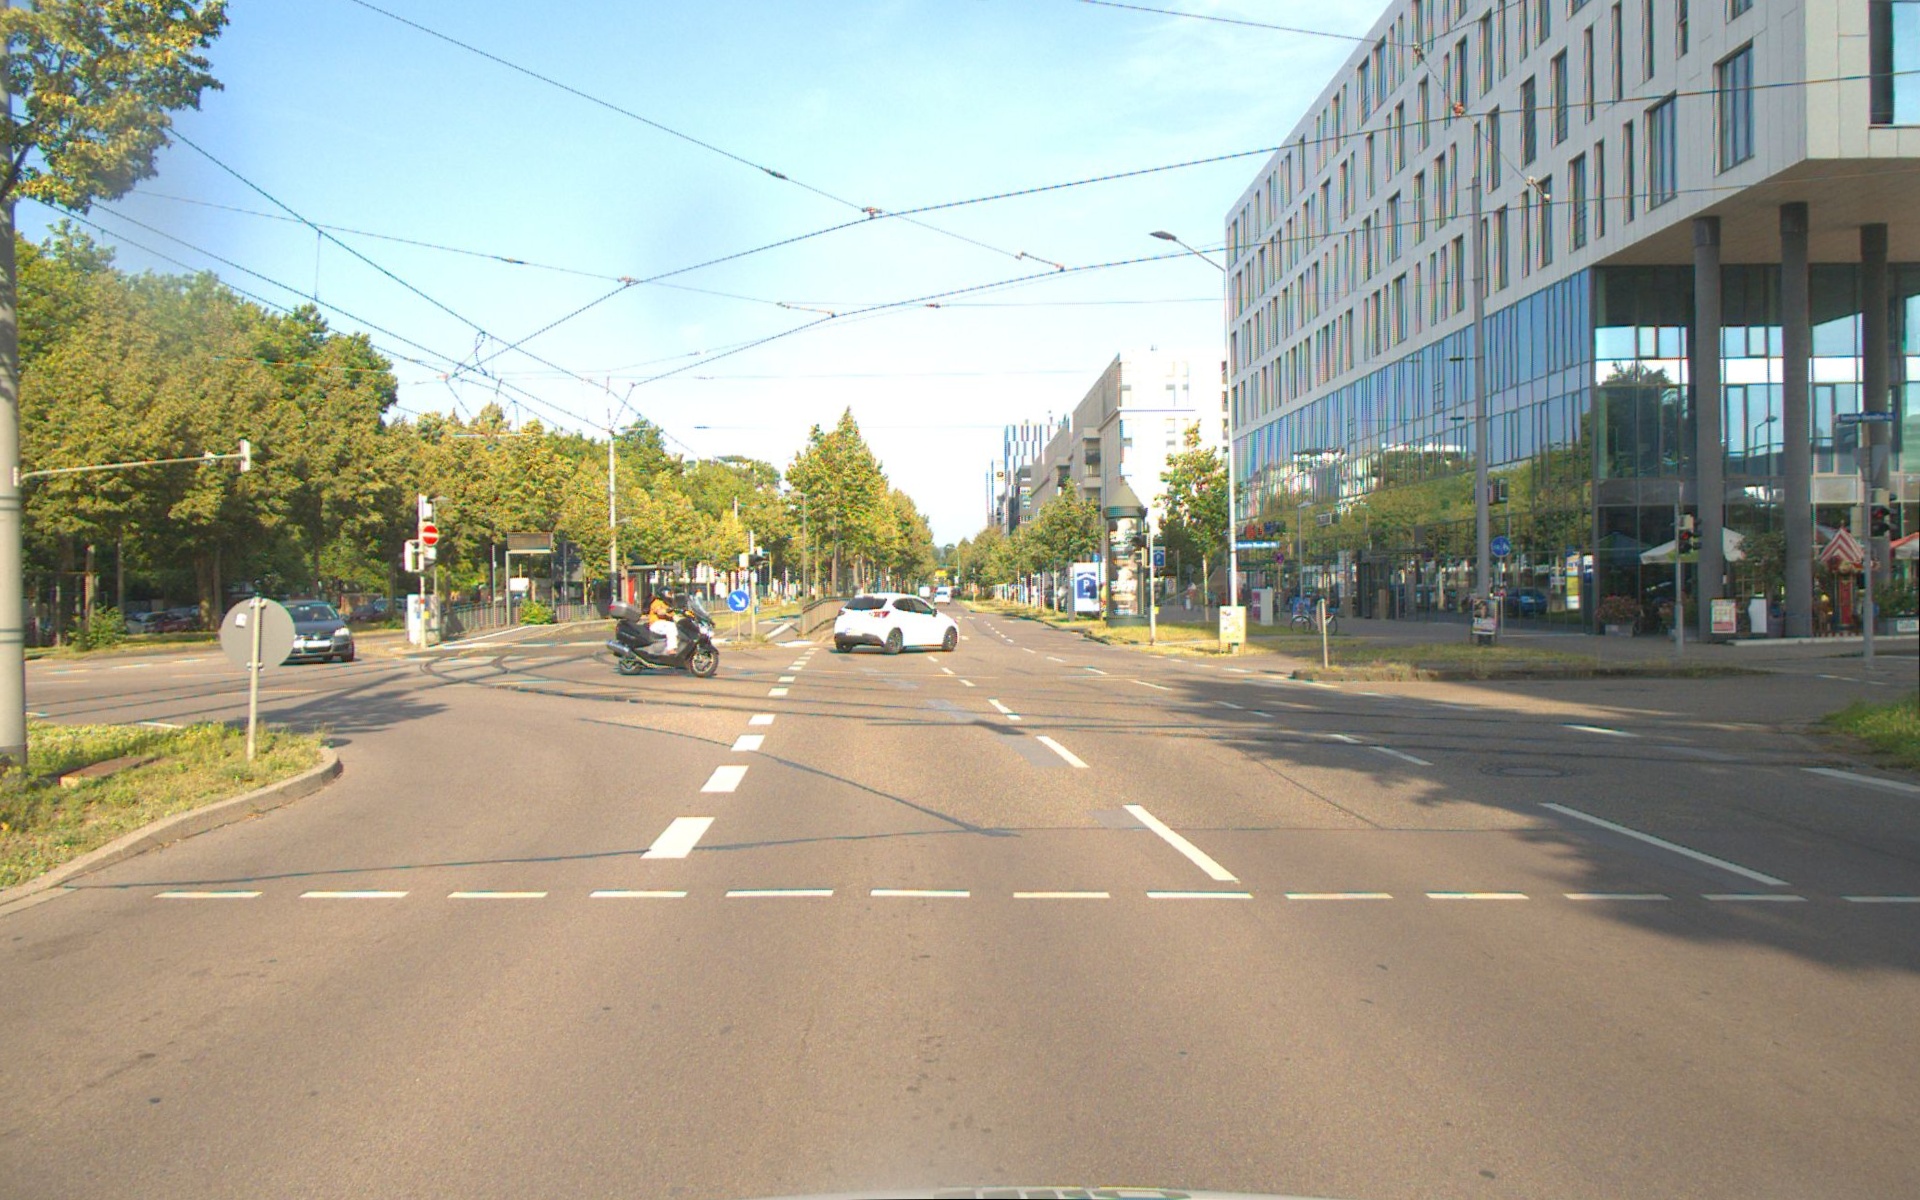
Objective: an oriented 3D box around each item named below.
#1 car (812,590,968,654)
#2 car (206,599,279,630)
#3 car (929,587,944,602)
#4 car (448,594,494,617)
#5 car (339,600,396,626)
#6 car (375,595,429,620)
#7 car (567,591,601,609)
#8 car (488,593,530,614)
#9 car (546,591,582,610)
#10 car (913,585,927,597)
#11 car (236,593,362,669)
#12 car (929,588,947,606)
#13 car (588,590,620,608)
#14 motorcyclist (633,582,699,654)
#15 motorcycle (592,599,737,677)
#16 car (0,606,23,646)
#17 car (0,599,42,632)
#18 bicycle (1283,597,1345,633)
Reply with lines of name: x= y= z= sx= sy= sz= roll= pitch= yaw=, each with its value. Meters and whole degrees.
car: x=-1.718 y=0.538 z=41.988 sx=1.958 sy=1.530 sz=4.081 roll=1 pitch=0 yaw=33
car: x=-38.134 y=0.760 z=88.013 sx=1.841 sy=1.586 sz=4.002 roll=-1 pitch=0 yaw=4
car: x=-2.903 y=-0.683 z=206.180 sx=1.826 sy=1.713 sz=4.000 roll=1 pitch=1 yaw=0
car: x=-35.630 y=0.395 z=120.638 sx=1.841 sy=1.586 sz=4.002 roll=-1 pitch=0 yaw=4
car: x=-36.889 y=0.788 z=103.057 sx=1.841 sy=1.586 sz=4.002 roll=-1 pitch=0 yaw=4
car: x=-36.460 y=0.464 z=108.144 sx=1.841 sy=1.586 sz=4.002 roll=-1 pitch=0 yaw=4
car: x=-33.866 y=-0.001 z=149.009 sx=1.841 sy=1.586 sz=4.002 roll=-1 pitch=0 yaw=4
car: x=-35.047 y=0.292 z=128.568 sx=1.841 sy=1.586 sz=4.002 roll=-1 pitch=0 yaw=4
car: x=-34.405 y=0.072 z=143.788 sx=1.841 sy=1.586 sz=4.002 roll=-1 pitch=0 yaw=4
car: x=-6.088 y=-1.425 z=251.877 sx=1.973 sy=1.713 sz=4.000 roll=1 pitch=1 yaw=0
car: x=-15.475 y=0.665 z=38.578 sx=1.715 sy=1.486 sz=4.519 roll=-5 pitch=4 yaw=-34
car: x=-2.286 y=-0.327 z=174.055 sx=1.826 sy=1.713 sz=4.000 roll=1 pitch=1 yaw=0
car: x=-33.424 y=-0.083 z=155.440 sx=1.841 sy=1.586 sz=4.002 roll=-1 pitch=0 yaw=4
motorcyclist: x=-5.143 y=0.299 z=28.929 sx=0.828 sy=1.224 sz=0.784 roll=1 pitch=1 yaw=27
motorcycle: x=-5.179 y=0.649 z=28.911 sx=2.491 sy=1.285 sz=0.820 roll=1 pitch=0 yaw=26
car: x=-39.336 y=1.052 z=65.602 sx=1.841 sy=1.586 sz=4.002 roll=-1 pitch=0 yaw=4
car: x=-46.666 y=0.757 z=80.233 sx=1.841 sy=1.586 sz=4.002 roll=-1 pitch=0 yaw=4
bicycle: x=11.362 y=0.466 z=53.165 sx=0.768 sy=1.050 sz=1.848 roll=-1 pitch=3 yaw=-44
